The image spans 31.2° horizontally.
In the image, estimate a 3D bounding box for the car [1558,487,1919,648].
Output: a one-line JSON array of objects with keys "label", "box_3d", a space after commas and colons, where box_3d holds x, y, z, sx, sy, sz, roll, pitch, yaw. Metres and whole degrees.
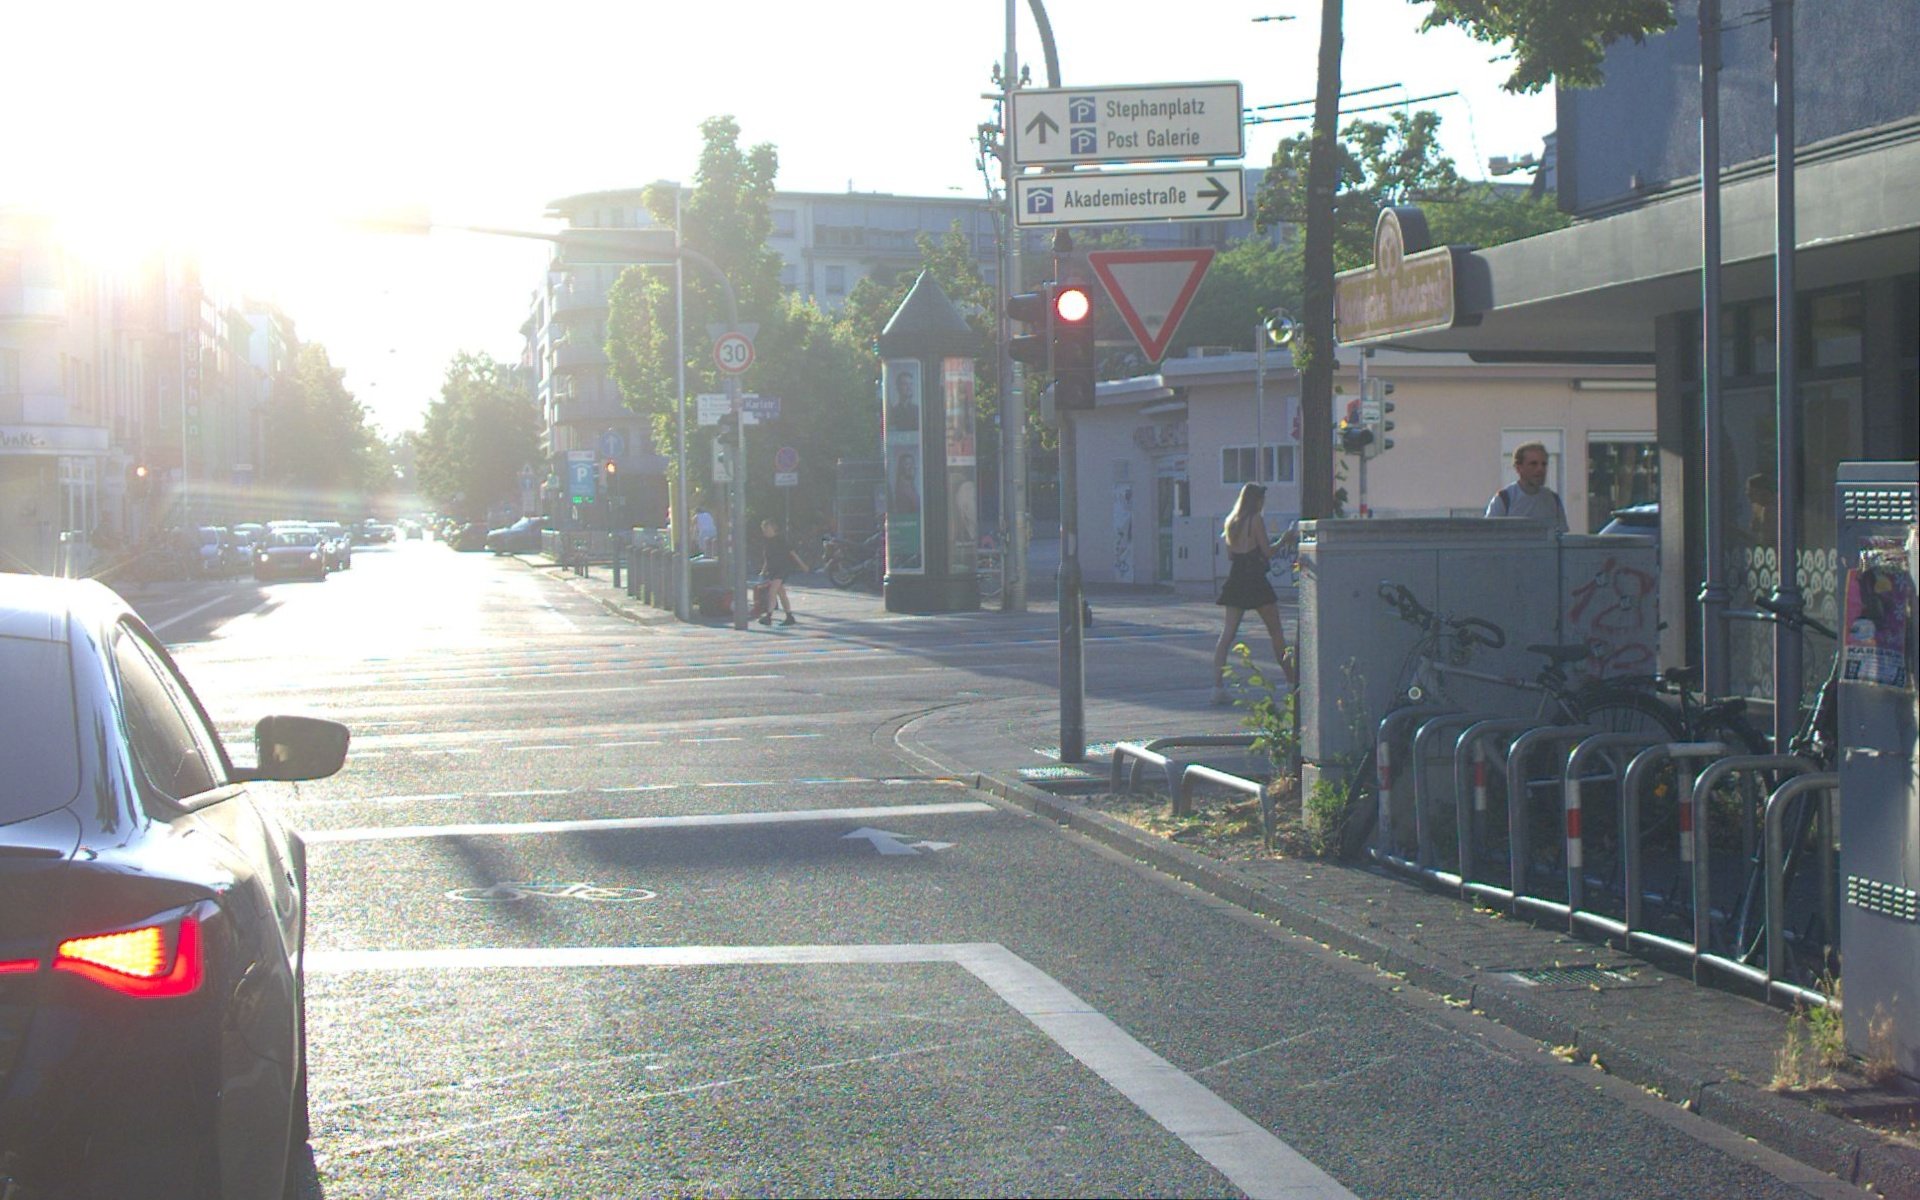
[{"label": "car", "box_3d": [8.960, -0.409, 38.884, 4.278, 1.701, 1.805, -2, 2, -34]}]

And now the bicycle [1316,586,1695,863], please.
[{"label": "bicycle", "box_3d": [2.402, 0.539, 15.151, 1.612, 1.167, 0.318, -1, 1, -6]}]

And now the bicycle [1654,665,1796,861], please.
[{"label": "bicycle", "box_3d": [3.378, 0.707, 15.234, 0.249, 0.793, 1.116, 1, 1, -7]}]

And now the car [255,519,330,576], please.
[{"label": "car", "box_3d": [-18.351, -1.464, 94.654, 1.817, 1.514, 4.001, -1, 2, -8]}]

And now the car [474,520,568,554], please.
[{"label": "car", "box_3d": [-20.766, -2.967, 162.634, 3.987, 1.514, 1.824, -2, 2, -33]}]

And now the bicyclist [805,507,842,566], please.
[{"label": "bicyclist", "box_3d": [-3.513, -1.644, 88.621, 0.884, 1.500, 0.612, 1, 1, 3]}]

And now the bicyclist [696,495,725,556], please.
[{"label": "bicyclist", "box_3d": [-6.113, -1.825, 84.230, 0.550, 1.476, 0.723, 0, 0, -17]}]

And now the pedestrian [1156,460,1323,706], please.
[{"label": "pedestrian", "box_3d": [2.223, -0.147, 27.355, 1.001, 1.854, 0.640, -6, 4, -28]}]

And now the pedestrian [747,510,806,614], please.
[{"label": "pedestrian", "box_3d": [-2.724, -0.566, 51.106, 0.732, 1.524, 0.473, 0, 1, -26]}]

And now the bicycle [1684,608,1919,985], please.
[{"label": "bicycle", "box_3d": [3.173, 0.646, 11.410, 1.440, 1.216, 0.383, 1, 1, -7]}]

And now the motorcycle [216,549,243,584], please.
[{"label": "motorcycle", "box_3d": [-19.912, -0.920, 93.767, 0.575, 0.912, 2.201, 1, 1, -8]}]

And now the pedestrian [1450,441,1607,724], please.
[{"label": "pedestrian", "box_3d": [3.777, -0.123, 22.879, 0.835, 1.835, 0.679, -1, 1, -8]}]

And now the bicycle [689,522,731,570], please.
[{"label": "bicycle", "box_3d": [-6.134, -1.326, 84.304, 0.550, 1.155, 2.145, 0, 1, -17]}]

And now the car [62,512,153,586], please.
[{"label": "car", "box_3d": [-21.572, -1.305, 87.103, 1.817, 1.782, 4.001, -1, 2, -8]}]

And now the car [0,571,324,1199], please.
[{"label": "car", "box_3d": [-2.116, 0.685, 6.492, 1.736, 1.424, 4.225, 0, 1, -10]}]

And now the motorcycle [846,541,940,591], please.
[{"label": "motorcycle", "box_3d": [-1.328, -0.675, 67.833, 1.668, 0.935, 0.856, -1, 2, -19]}]

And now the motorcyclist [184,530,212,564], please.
[{"label": "motorcyclist", "box_3d": [-20.850, -1.469, 94.129, 0.575, 0.912, 2.201, 1, 1, -8]}]

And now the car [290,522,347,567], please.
[{"label": "car", "box_3d": [-22.990, -2.002, 123.266, 1.817, 1.514, 4.001, -1, 2, -8]}]

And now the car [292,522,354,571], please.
[{"label": "car", "box_3d": [-20.953, -1.778, 113.136, 1.817, 1.514, 4.001, -1, 2, -8]}]

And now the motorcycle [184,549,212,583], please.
[{"label": "motorcycle", "box_3d": [-20.866, -0.939, 94.140, 0.575, 0.912, 2.201, 1, 1, -8]}]

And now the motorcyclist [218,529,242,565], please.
[{"label": "motorcyclist", "box_3d": [-19.880, -1.447, 93.660, 0.575, 0.992, 0.703, 1, 1, -8]}]
